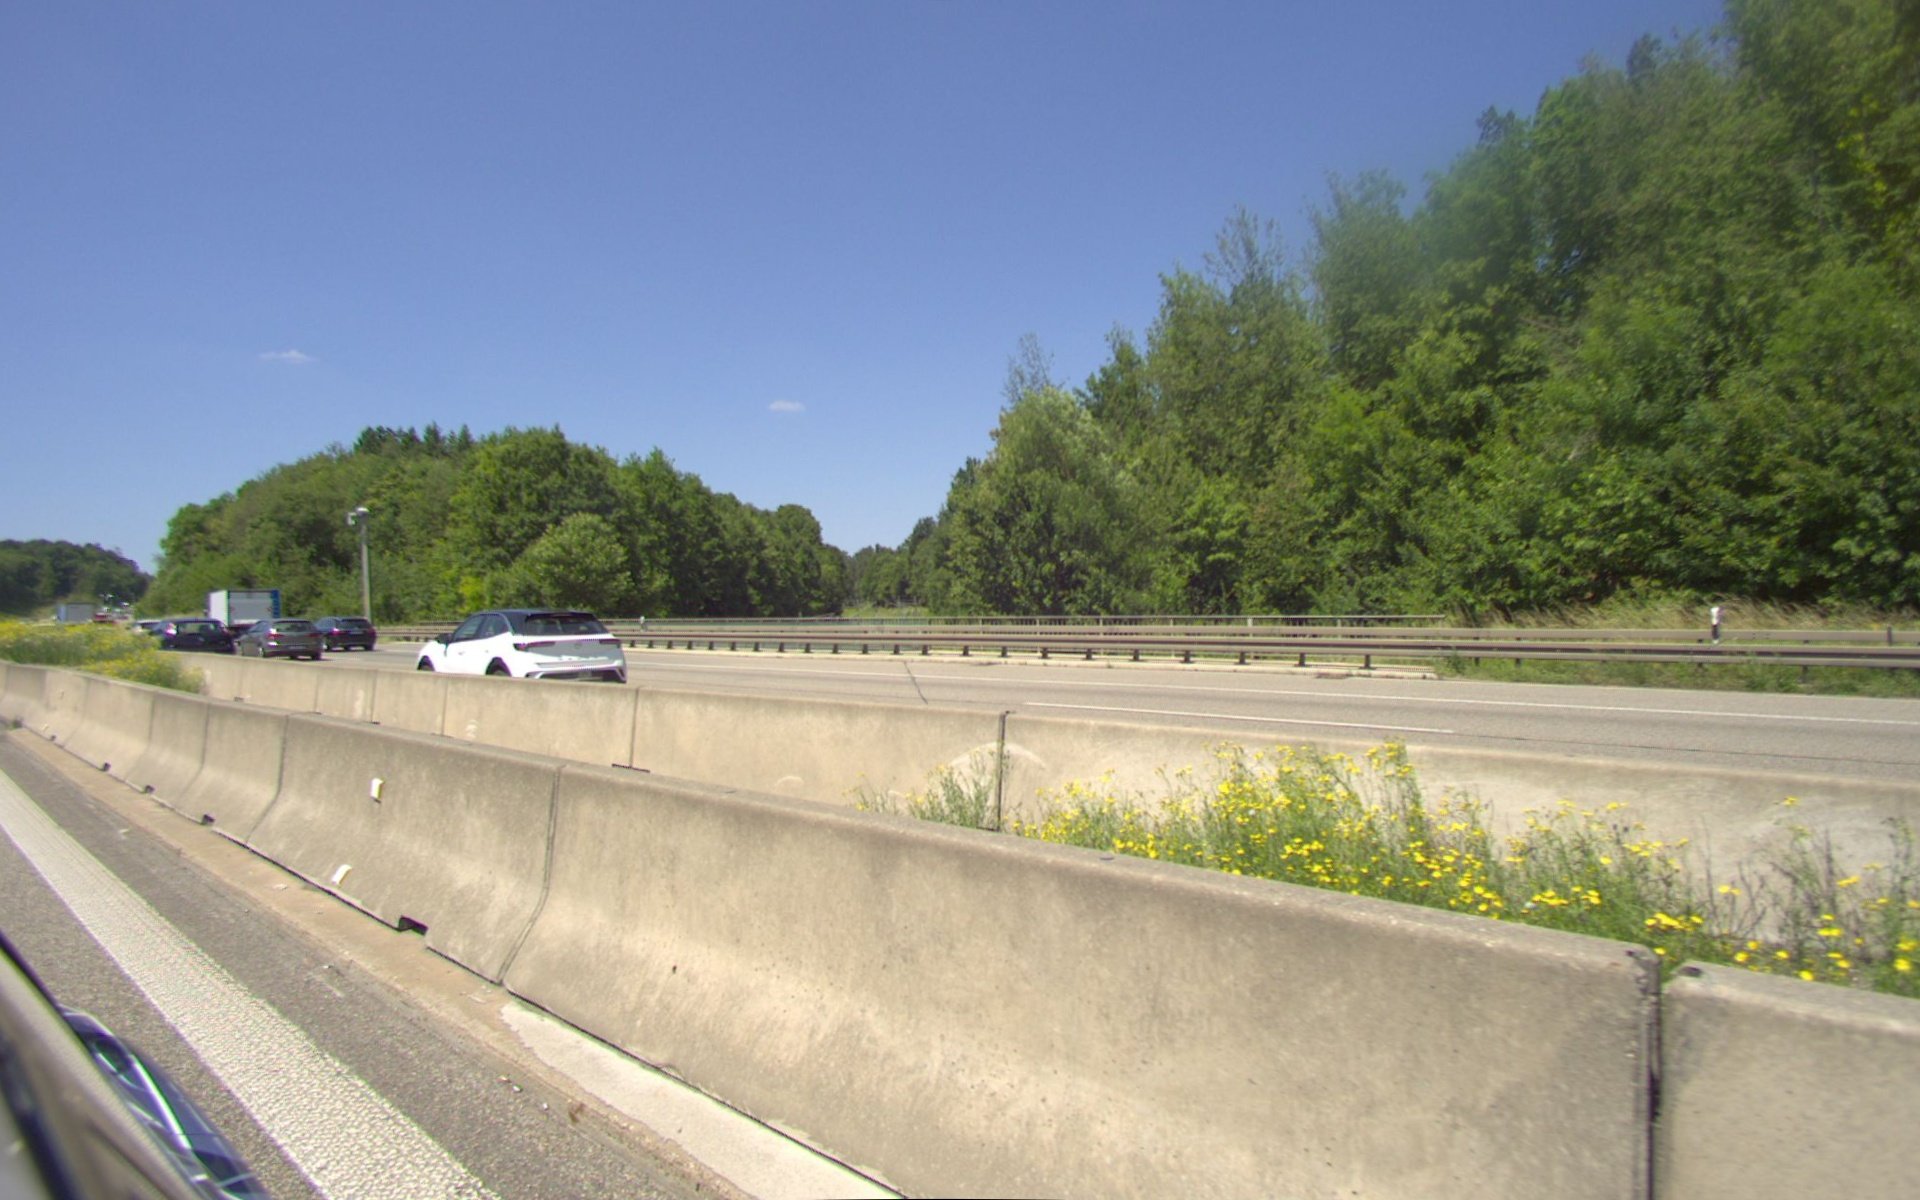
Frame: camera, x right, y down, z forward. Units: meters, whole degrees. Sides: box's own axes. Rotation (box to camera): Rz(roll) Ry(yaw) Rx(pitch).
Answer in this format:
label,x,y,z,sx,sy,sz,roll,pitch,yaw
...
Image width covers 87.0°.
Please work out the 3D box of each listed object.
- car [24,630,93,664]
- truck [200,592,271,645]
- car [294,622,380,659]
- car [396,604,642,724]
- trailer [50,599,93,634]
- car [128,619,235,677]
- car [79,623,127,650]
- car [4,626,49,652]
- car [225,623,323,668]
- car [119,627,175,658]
label,x,y,z,sx,sy,sz,roll,pitch,yaw
car,-40.247,2.067,45.148,4.609,1.416,1.713,-2,-2,41
truck,-50.312,1.303,70.169,7.316,3.501,2.705,-2,-2,44
car,-26.662,1.716,43.253,4.690,1.492,1.972,-2,-2,43
car,-6.697,0.882,15.137,4.255,1.538,1.785,-2,-1,42
trailer,-103.449,1.927,117.771,10.169,3.886,2.751,-2,-2,43
car,-21.278,1.283,27.617,3.856,1.439,1.647,-2,-1,42
car,-57.730,2.433,68.169,4.530,1.714,1.972,-2,-1,43
car,-54.136,2.251,58.664,4.036,1.438,1.614,-2,-2,43
car,-23.408,1.524,34.464,4.232,1.431,1.823,-2,-1,42
car,-43.247,2.234,53.797,4.000,1.558,1.822,-2,-2,43
